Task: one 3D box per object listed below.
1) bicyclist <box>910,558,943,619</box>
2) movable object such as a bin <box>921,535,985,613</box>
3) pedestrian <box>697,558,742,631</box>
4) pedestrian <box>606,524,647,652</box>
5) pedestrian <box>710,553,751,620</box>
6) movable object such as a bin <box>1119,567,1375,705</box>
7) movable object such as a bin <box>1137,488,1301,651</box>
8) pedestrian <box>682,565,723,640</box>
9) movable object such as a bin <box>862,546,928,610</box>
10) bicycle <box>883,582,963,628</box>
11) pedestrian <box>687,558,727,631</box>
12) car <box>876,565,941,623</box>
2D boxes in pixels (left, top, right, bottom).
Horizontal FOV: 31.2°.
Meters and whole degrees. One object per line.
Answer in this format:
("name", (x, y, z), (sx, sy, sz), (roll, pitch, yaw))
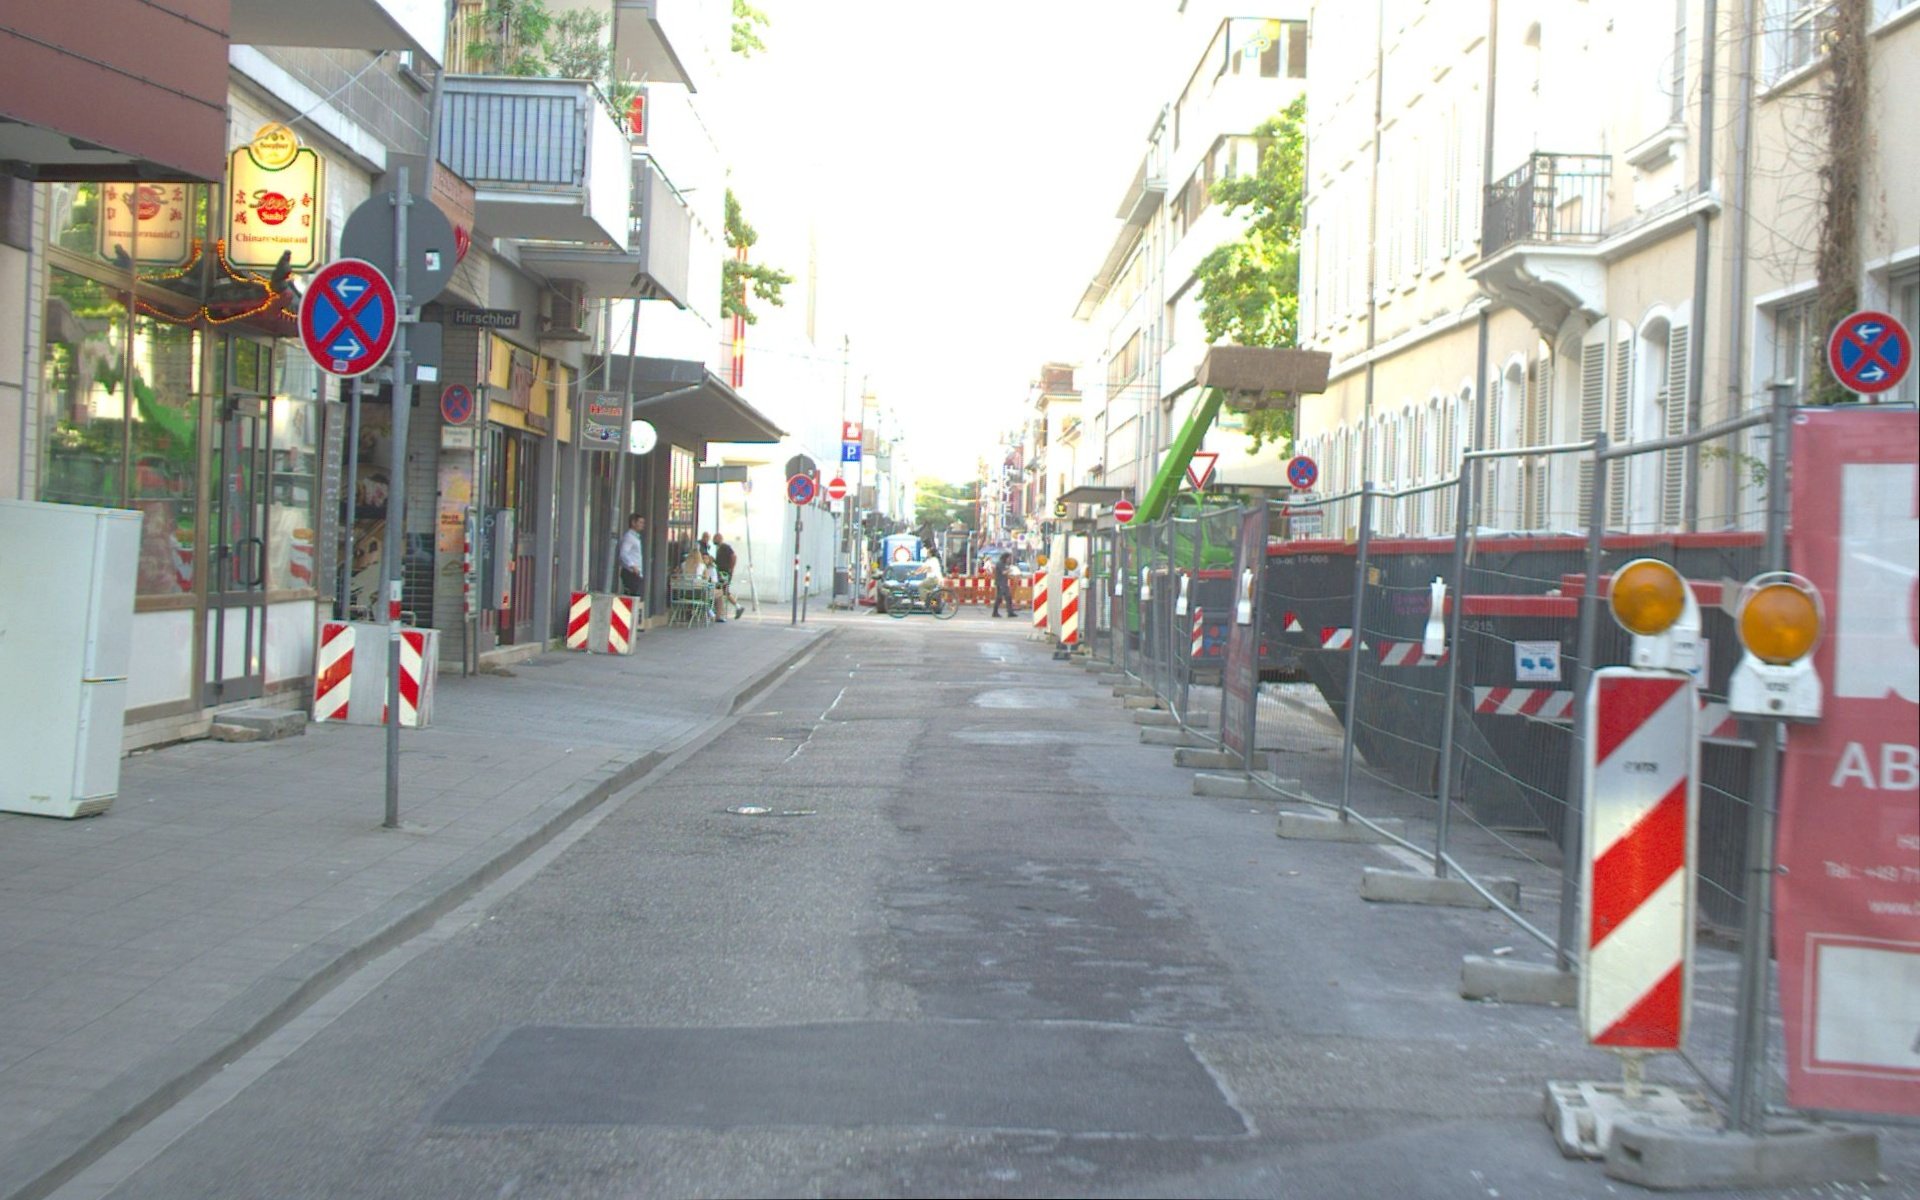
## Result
("bicyclist", (-0.807, -0.281, 82.613), (0.724, 1.436, 0.506), (2, 1, -2))
("movable object such as a bin", (-0.258, -0.938, 121.988), (2.156, 2.654, 4.573), (2, 1, 0))
("pedestrian", (-4.379, -0.110, 62.619), (0.702, 1.271, 0.713), (4, 1, 0))
("pedestrian", (-4.852, -0.181, 49.976), (0.530, 1.828, 0.563), (2, 1, -6))
("pedestrian", (-4.470, -0.266, 66.930), (0.711, 1.271, 0.704), (2, 1, 0))
("movable object such as a bin", (3.901, 0.436, 48.417), (2.735, 1.633, 7.553), (3, 1, -1))
("movable object such as a bin", (4.692, -0.569, 62.910), (2.605, 2.829, 4.450), (1, 1, 0))
("pedestrian", (-4.540, 0.037, 60.642), (0.573, 1.271, 0.713), (4, 1, 0))
("movable object such as a bin", (-2.095, -0.723, 111.887), (1.993, 2.007, 4.000), (1, 1, 0))
("bicycle", (-0.897, 0.127, 82.652), (1.890, 1.034, 0.409), (2, 1, -3))
("pedestrian", (-4.531, -0.102, 61.533), (0.573, 1.271, 0.713), (4, 1, 0))
("car", (-1.466, -0.192, 96.703), (1.629, 1.545, 3.143), (1, 1, -4))
